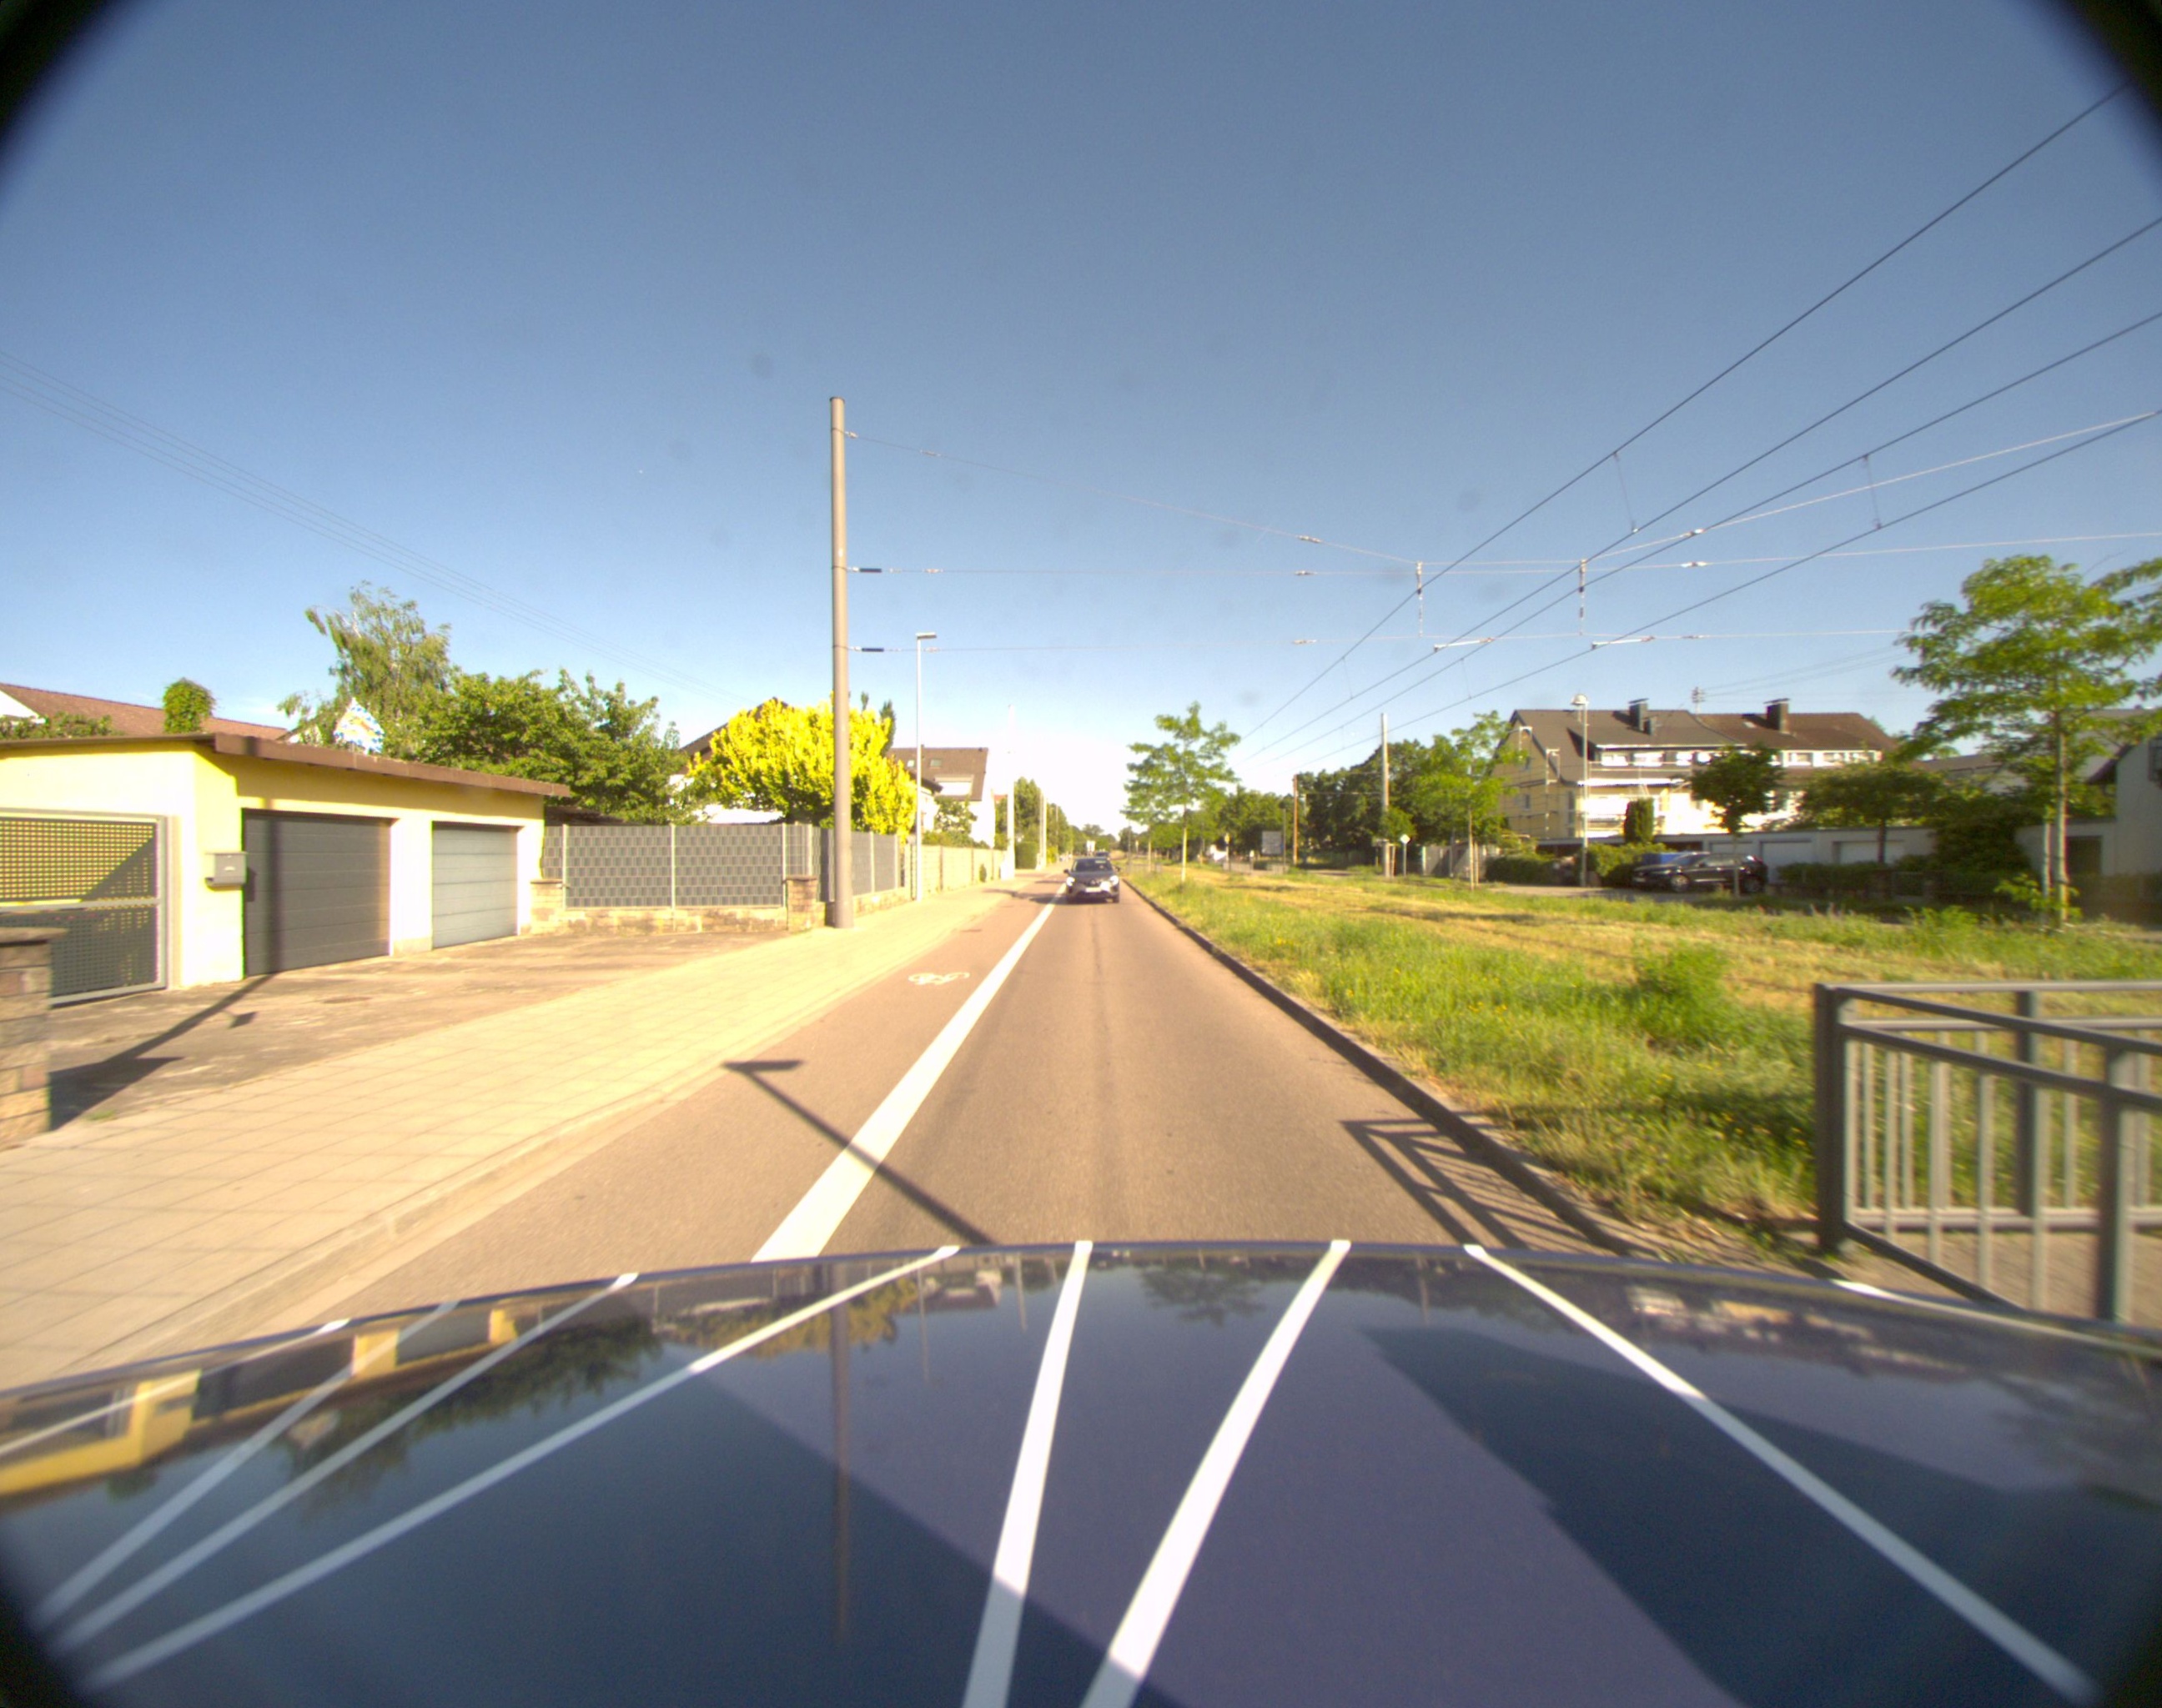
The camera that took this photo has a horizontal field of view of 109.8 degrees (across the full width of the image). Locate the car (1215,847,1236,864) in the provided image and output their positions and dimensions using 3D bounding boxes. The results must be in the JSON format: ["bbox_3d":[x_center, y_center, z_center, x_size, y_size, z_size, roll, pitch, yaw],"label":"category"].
[{"bbox_3d":[16.826,0.148,88.545,1.901,1.903,4.703,0,0,4],"label":"car"}]

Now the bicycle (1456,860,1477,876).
[{"bbox_3d":[24.350,0.892,48.002,0.424,0.936,1.748,-2,1,1],"label":"bicycle"}]

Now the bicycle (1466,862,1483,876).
[{"bbox_3d":[25.124,0.953,48.582,0.311,0.816,1.509,-2,1,1],"label":"bicycle"}]

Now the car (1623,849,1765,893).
[{"bbox_3d":[25.106,0.657,31.200,4.556,1.724,2.051,0,0,-11],"label":"car"}]

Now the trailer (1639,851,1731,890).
[{"bbox_3d":[26.445,0.712,33.321,2.921,1.638,1.398,0,1,-2],"label":"trailer"}]

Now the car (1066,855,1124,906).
[{"bbox_3d":[0.426,0.870,26.931,1.867,1.614,3.999,-1,0,-1],"label":"car"}]

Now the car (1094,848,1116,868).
[{"bbox_3d":[2.347,0.392,74.314,1.998,1.824,4.000,-2,1,1],"label":"car"}]
